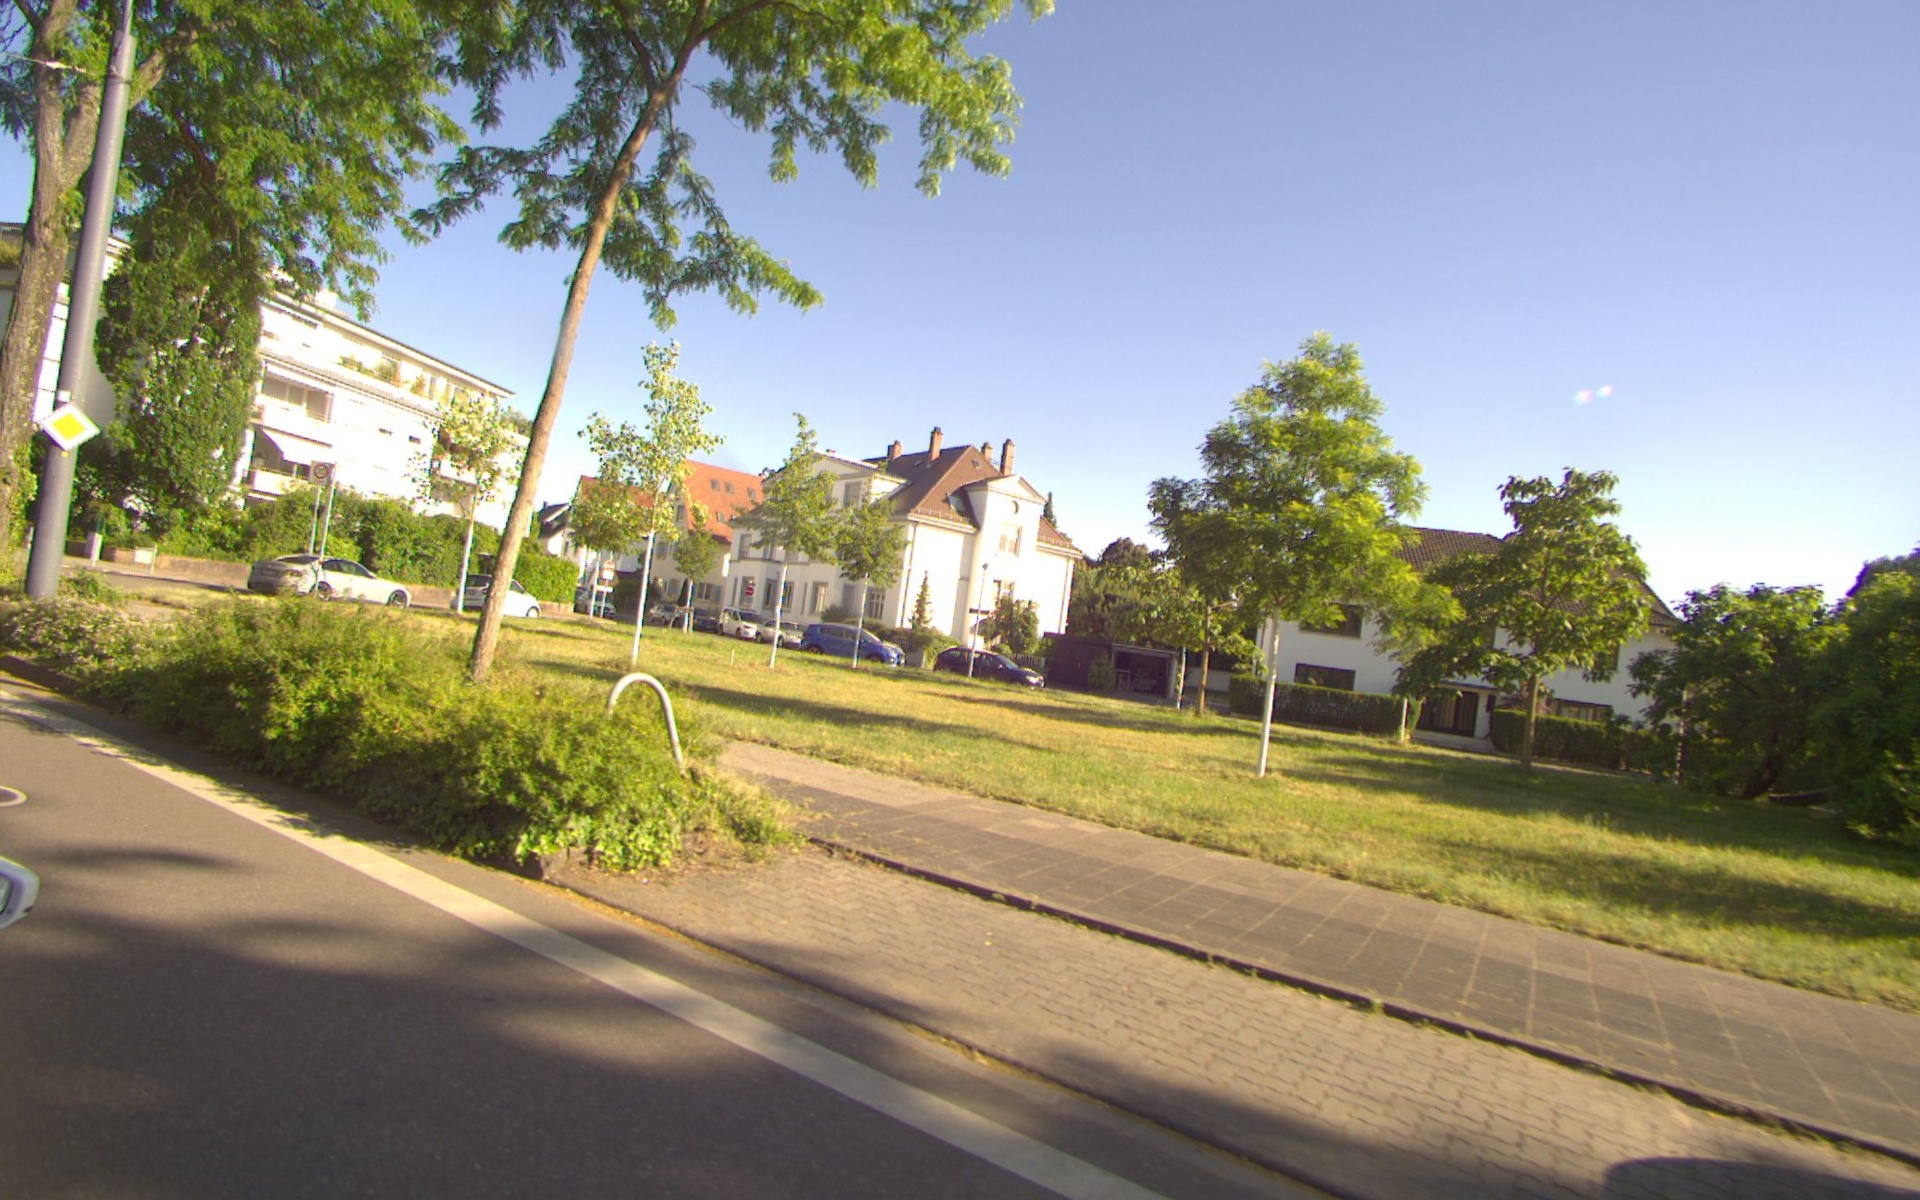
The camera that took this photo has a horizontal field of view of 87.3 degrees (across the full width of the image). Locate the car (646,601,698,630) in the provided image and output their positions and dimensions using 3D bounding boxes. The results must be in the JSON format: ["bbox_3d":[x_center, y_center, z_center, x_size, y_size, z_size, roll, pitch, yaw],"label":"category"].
[{"bbox_3d":[-19.800,1.051,69.085,1.984,1.537,3.961,9,-2,-36],"label":"car"}]

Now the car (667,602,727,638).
[{"bbox_3d":[-16.898,1.253,64.533,1.984,1.805,4.557,9,-3,-37],"label":"car"}]

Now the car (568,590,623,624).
[{"bbox_3d":[-23.168,0.435,63.828,2.035,1.727,4.248,9,-3,-35],"label":"car"}]

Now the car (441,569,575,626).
[{"bbox_3d":[-16.106,-0.035,36.111,1.806,1.527,4.299,4,-3,19],"label":"car"}]

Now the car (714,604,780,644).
[{"bbox_3d":[-12.324,1.336,57.925,1.982,1.862,4.518,9,-3,-34],"label":"car"}]

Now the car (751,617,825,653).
[{"bbox_3d":[-9.185,1.834,53.419,1.982,1.444,4.722,9,-4,-34],"label":"car"}]

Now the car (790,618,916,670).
[{"bbox_3d":[-4.433,1.834,41.937,4.665,1.487,2.068,7,-2,12],"label":"car"}]

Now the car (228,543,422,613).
[{"bbox_3d":[-18.076,-0.560,28.931,1.931,1.384,4.532,7,-2,14],"label":"car"}]

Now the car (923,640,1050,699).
[{"bbox_3d":[1.111,2.813,40.517,4.676,1.667,2.004,7,-3,11],"label":"car"}]

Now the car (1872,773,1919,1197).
[{"bbox_3d":[5.625,1.651,1.900,5.341,1.484,2.002,6,1,30],"label":"car"}]
